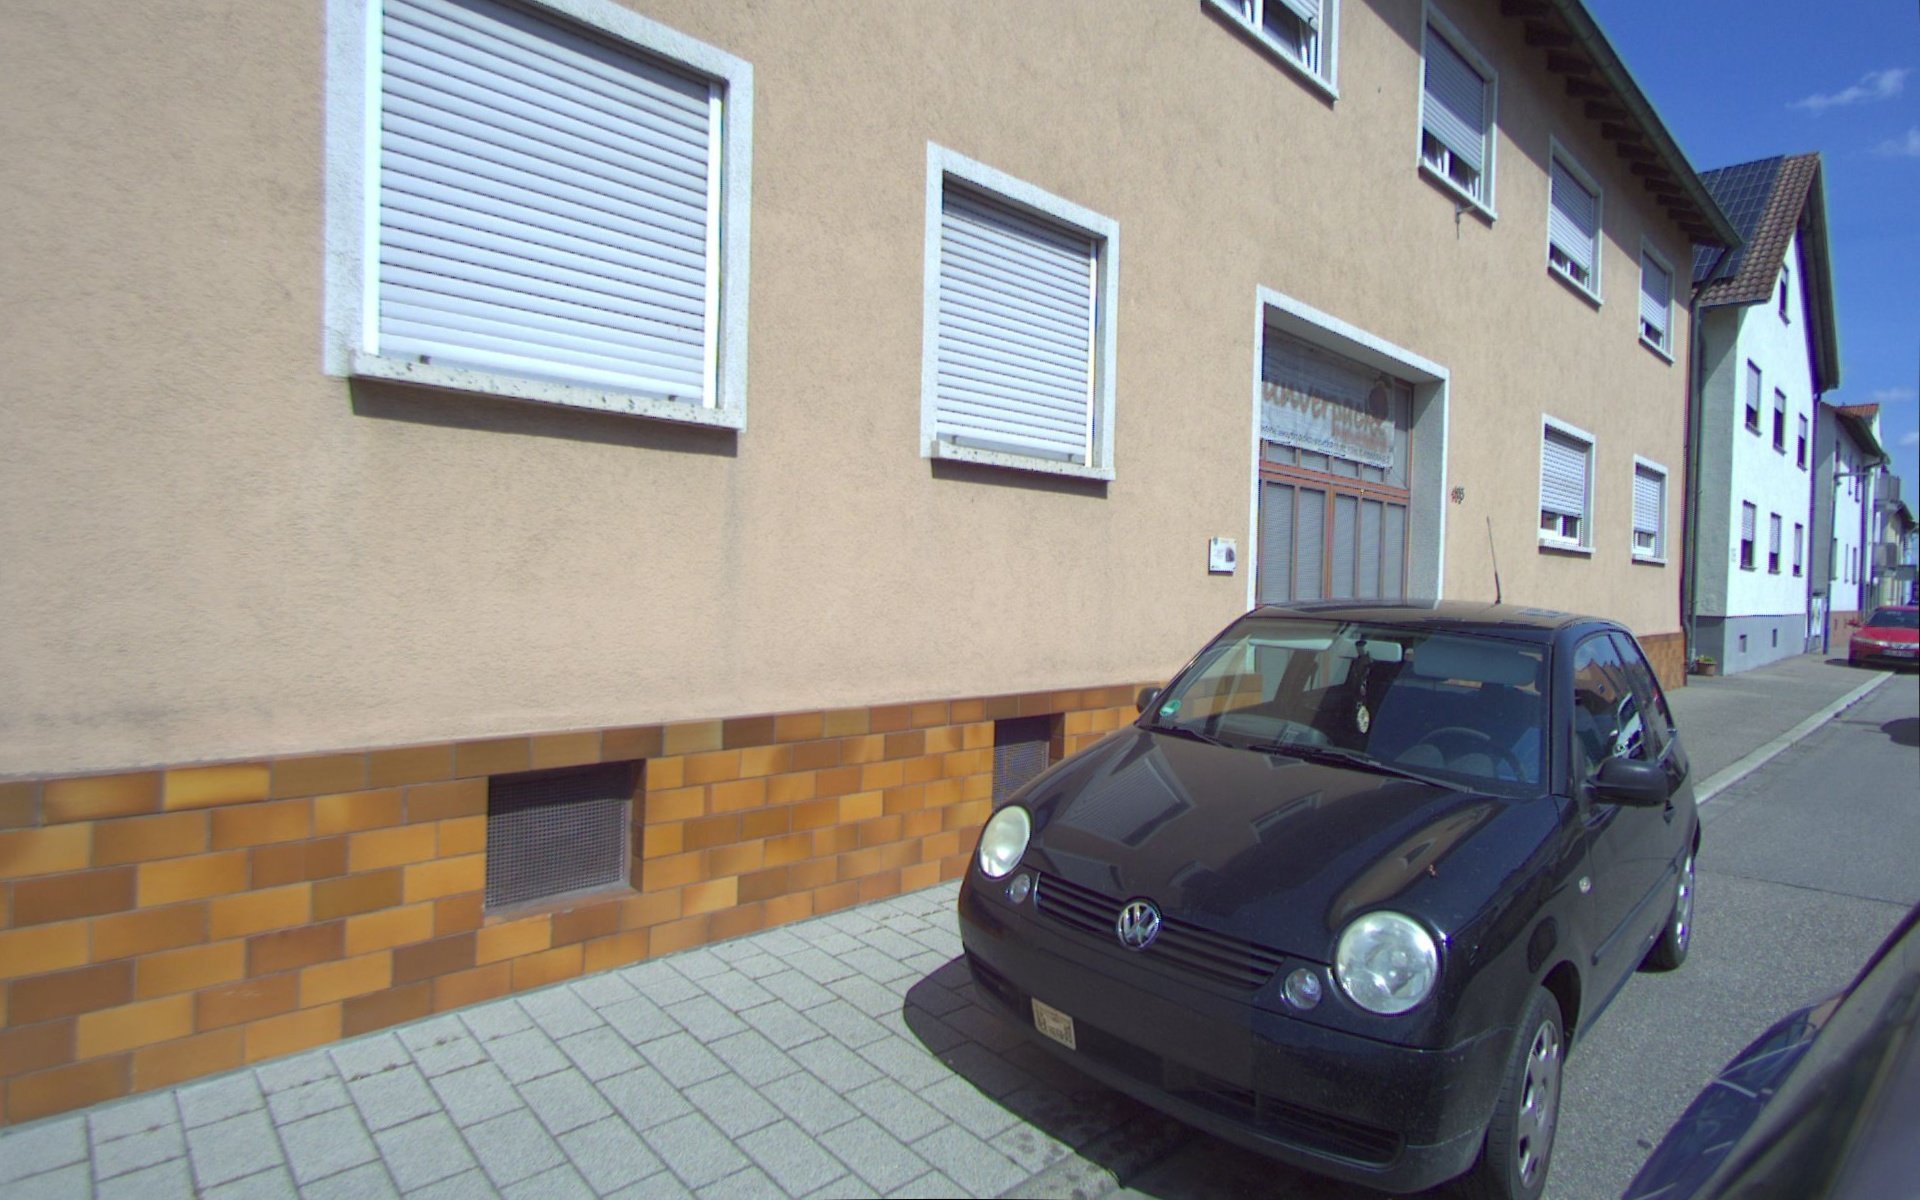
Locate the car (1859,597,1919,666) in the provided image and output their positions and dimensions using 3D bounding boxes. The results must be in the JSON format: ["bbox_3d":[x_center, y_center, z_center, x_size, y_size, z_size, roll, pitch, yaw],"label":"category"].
[{"bbox_3d":[22.114,0.702,23.350,4.120,1.446,1.762,1,2,-45],"label":"car"}]

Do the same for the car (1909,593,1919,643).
[{"bbox_3d":[29.937,0.578,30.501,4.120,1.446,1.762,1,2,-45],"label":"car"}]

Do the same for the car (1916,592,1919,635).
[{"bbox_3d":[34.397,0.511,35.012,4.120,1.446,1.762,1,2,-45],"label":"car"}]

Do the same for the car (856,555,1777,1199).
[{"bbox_3d":[1.575,0.680,3.668,3.569,1.481,1.688,1,3,-45],"label":"car"}]
